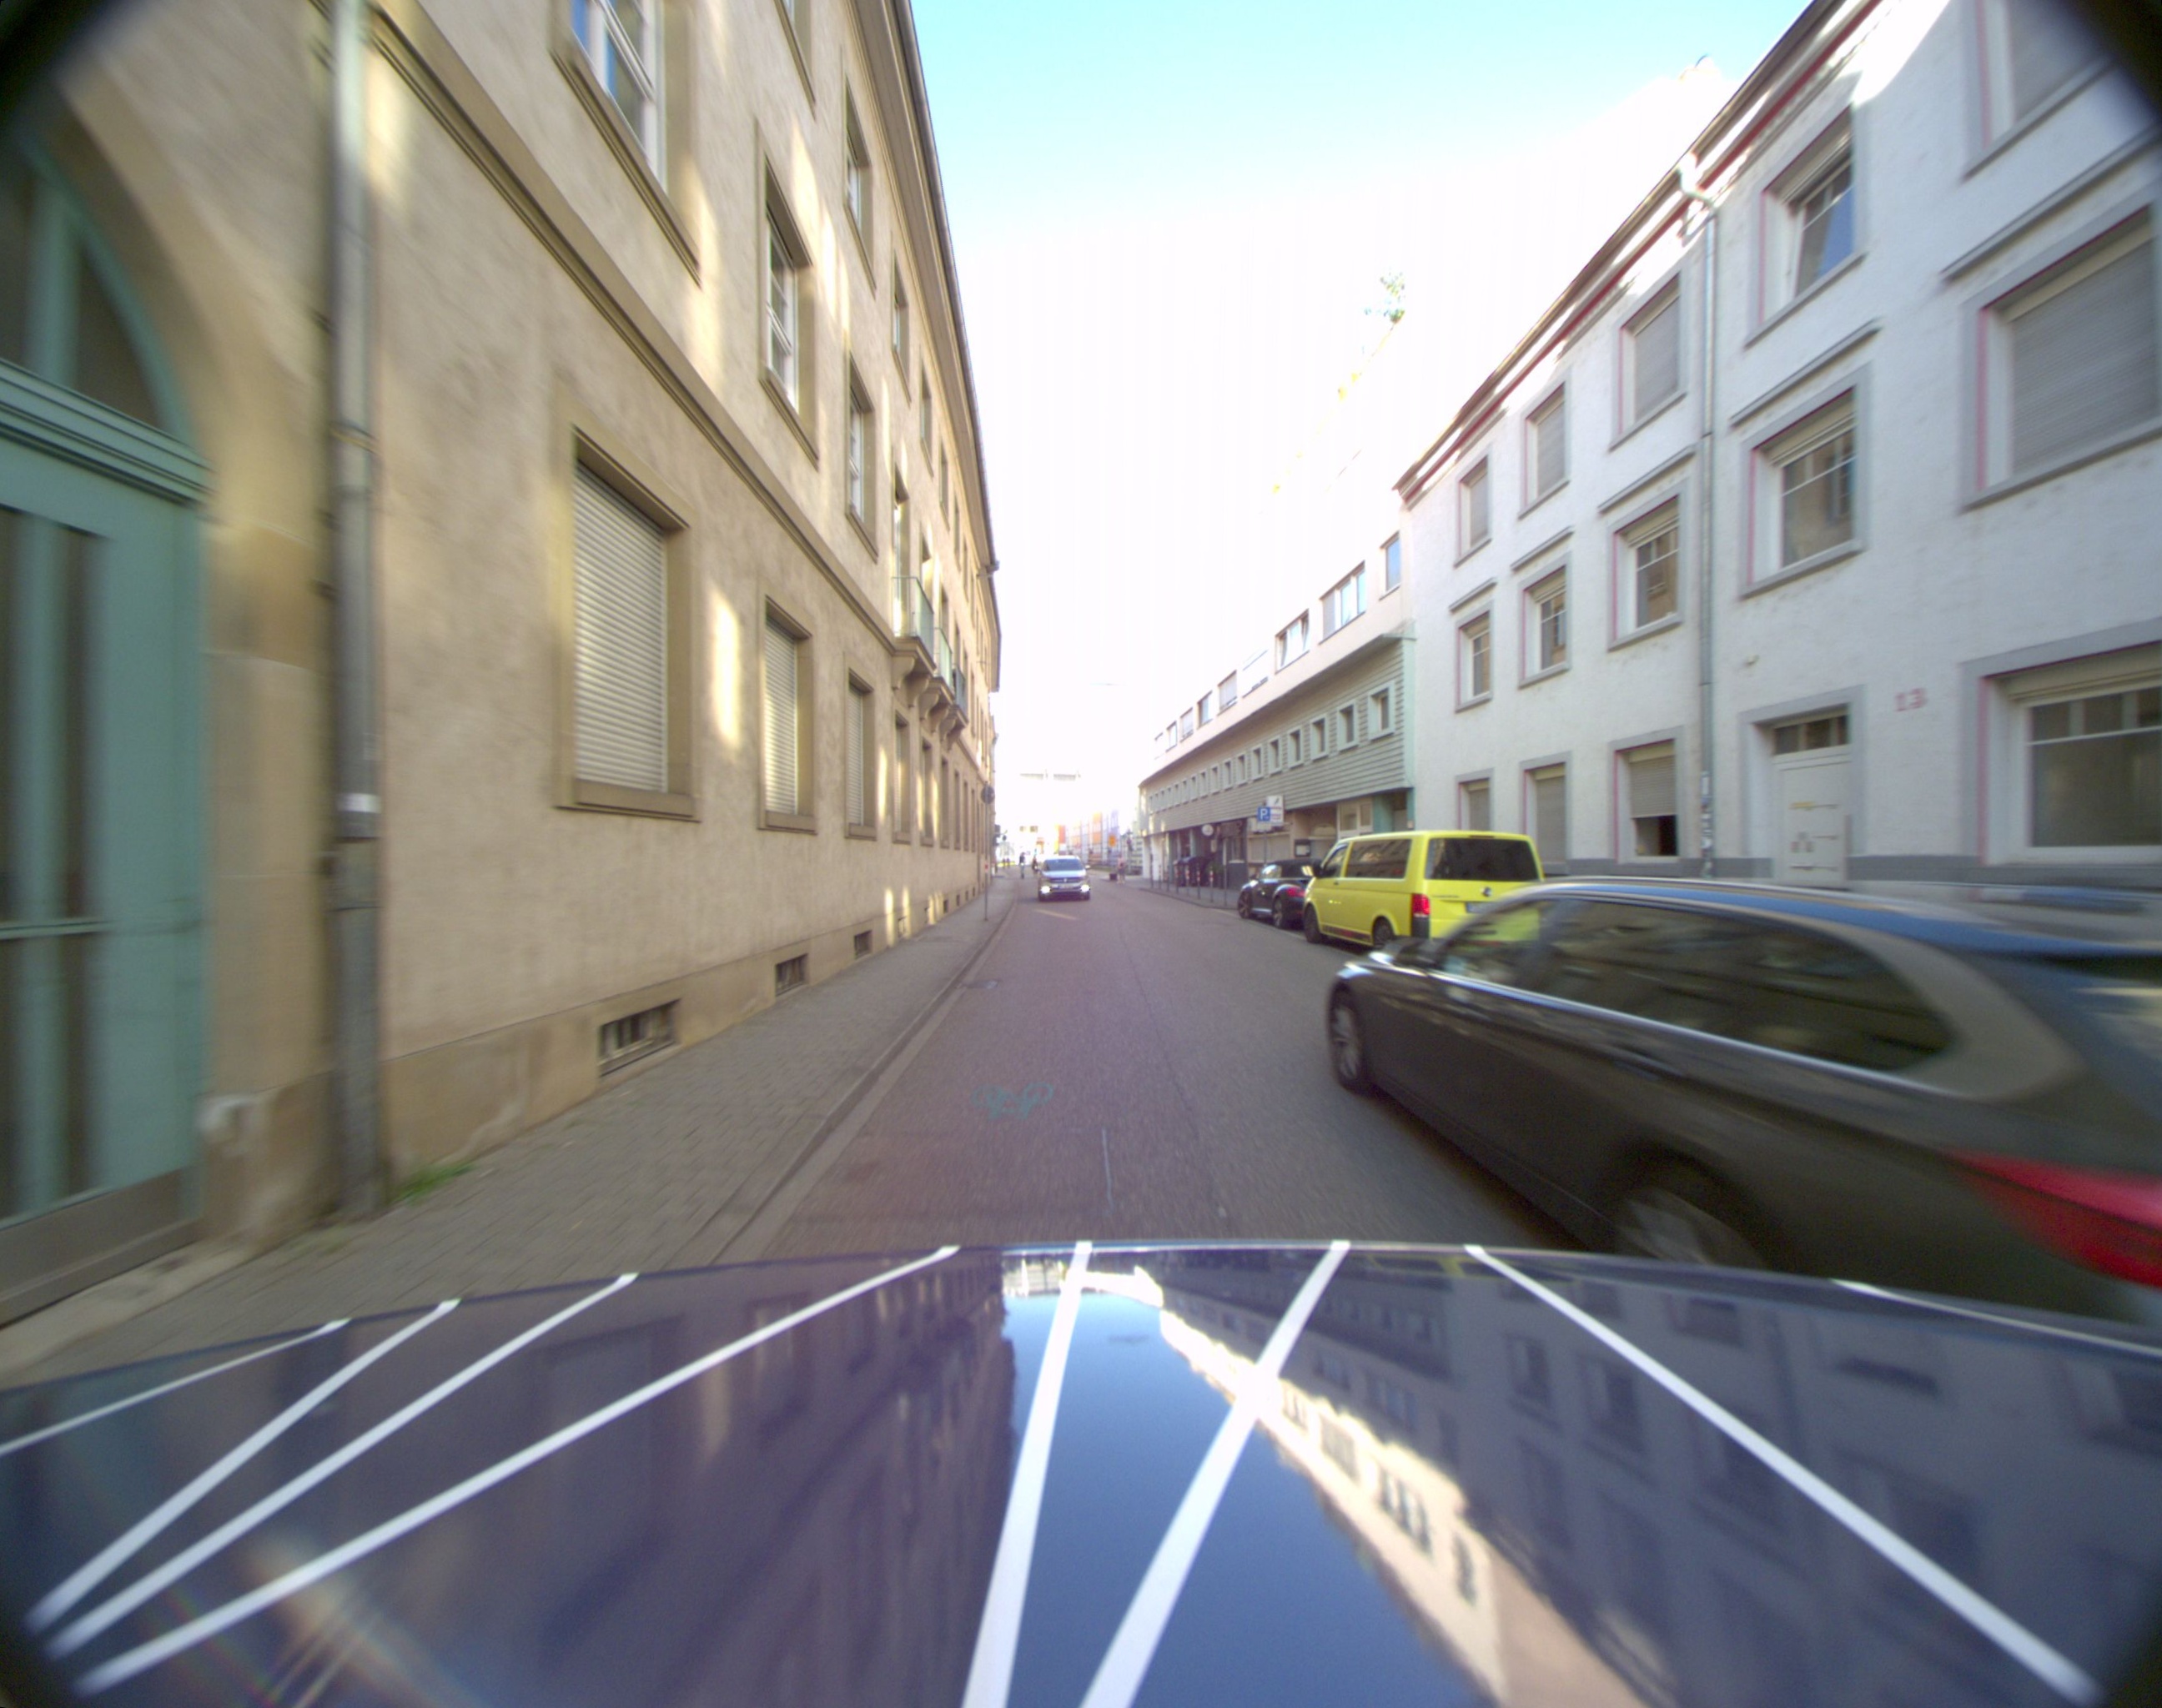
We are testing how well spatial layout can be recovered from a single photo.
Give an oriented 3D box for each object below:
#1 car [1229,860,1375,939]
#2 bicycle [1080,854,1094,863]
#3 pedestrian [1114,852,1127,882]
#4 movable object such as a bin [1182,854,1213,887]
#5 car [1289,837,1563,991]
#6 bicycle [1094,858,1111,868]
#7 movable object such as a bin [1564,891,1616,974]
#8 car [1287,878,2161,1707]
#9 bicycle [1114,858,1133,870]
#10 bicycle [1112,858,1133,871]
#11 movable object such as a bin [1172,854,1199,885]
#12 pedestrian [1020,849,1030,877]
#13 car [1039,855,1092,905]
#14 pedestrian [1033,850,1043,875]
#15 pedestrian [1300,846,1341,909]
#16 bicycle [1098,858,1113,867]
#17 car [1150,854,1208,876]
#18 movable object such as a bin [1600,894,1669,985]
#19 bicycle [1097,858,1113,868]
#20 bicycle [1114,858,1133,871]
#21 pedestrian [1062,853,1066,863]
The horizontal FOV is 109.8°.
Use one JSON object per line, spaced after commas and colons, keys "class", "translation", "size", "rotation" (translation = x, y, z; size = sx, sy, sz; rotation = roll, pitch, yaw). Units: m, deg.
{"class": "car", "translation": [4.774, 0.920, 17.090], "size": [1.824, 1.477, 4.075], "rotation": [2, 0, -4]}
{"class": "bicycle", "translation": [0.809, 0.604, 102.690], "size": [1.808, 0.977, 0.653], "rotation": [-5, 1, -9]}
{"class": "pedestrian", "translation": [2.303, 0.749, 44.078], "size": [0.494, 1.660, 0.627], "rotation": [-3, 1, -18]}
{"class": "movable object such as a bin", "translation": [5.486, 0.769, 35.907], "size": [1.125, 1.511, 1.341], "rotation": [0, -1, -5]}
{"class": "car", "translation": [4.946, 0.749, 11.840], "size": [1.885, 1.856, 4.863], "rotation": [2, 0, -2]}
{"class": "bicycle", "translation": [2.426, 1.024, 85.569], "size": [1.803, 0.940, 0.388], "rotation": [-4, 1, -6]}
{"class": "movable object such as a bin", "translation": [6.962, 1.061, 10.398], "size": [0.411, 1.098, 0.433], "rotation": [0, 0, 0]}
{"class": "car", "translation": [2.439, 0.953, 2.975], "size": [1.720, 1.569, 4.188], "rotation": [0, 0, -7]}
{"class": "bicycle", "translation": [4.112, 0.970, 73.614], "size": [1.739, 1.094, 0.388], "rotation": [-4, 1, -13]}
{"class": "bicycle", "translation": [3.953, 0.991, 71.749], "size": [1.821, 1.094, 0.749], "rotation": [-4, 1, -6]}
{"class": "movable object such as a bin", "translation": [5.138, 0.775, 37.521], "size": [0.971, 1.462, 1.474], "rotation": [0, -1, -5]}
{"class": "pedestrian", "translation": [-3.964, 0.622, 53.856], "size": [0.678, 1.928, 0.858], "rotation": [-1, 0, -7]}
{"class": "car", "translation": [-0.574, 0.878, 27.841], "size": [1.683, 1.568, 4.242], "rotation": [-4, 0, -1]}
{"class": "pedestrian", "translation": [-3.117, 0.625, 55.121], "size": [0.603, 1.770, 0.651], "rotation": [-1, 0, -7]}
{"class": "pedestrian", "translation": [6.696, 0.649, 21.210], "size": [1.079, 1.718, 0.803], "rotation": [0, 1, 19]}
{"class": "bicycle", "translation": [2.787, 0.990, 87.563], "size": [1.658, 0.940, 0.388], "rotation": [-4, 1, -6]}
{"class": "car", "translation": [7.242, 0.811, 56.170], "size": [3.944, 1.511, 1.692], "rotation": [-1, 0, -7]}
{"class": "movable object such as a bin", "translation": [6.973, 1.064, 9.587], "size": [0.541, 1.098, 0.433], "rotation": [0, 0, 0]}
{"class": "bicycle", "translation": [2.722, 1.004, 86.295], "size": [1.803, 0.940, 0.388], "rotation": [-4, 1, -6]}
{"class": "bicycle", "translation": [4.074, 0.976, 73.204], "size": [1.739, 1.094, 0.388], "rotation": [-4, 1, -13]}
{"class": "pedestrian", "translation": [-2.642, 0.607, 118.308], "size": [0.612, 1.641, 0.447], "rotation": [-1, 1, -12]}
